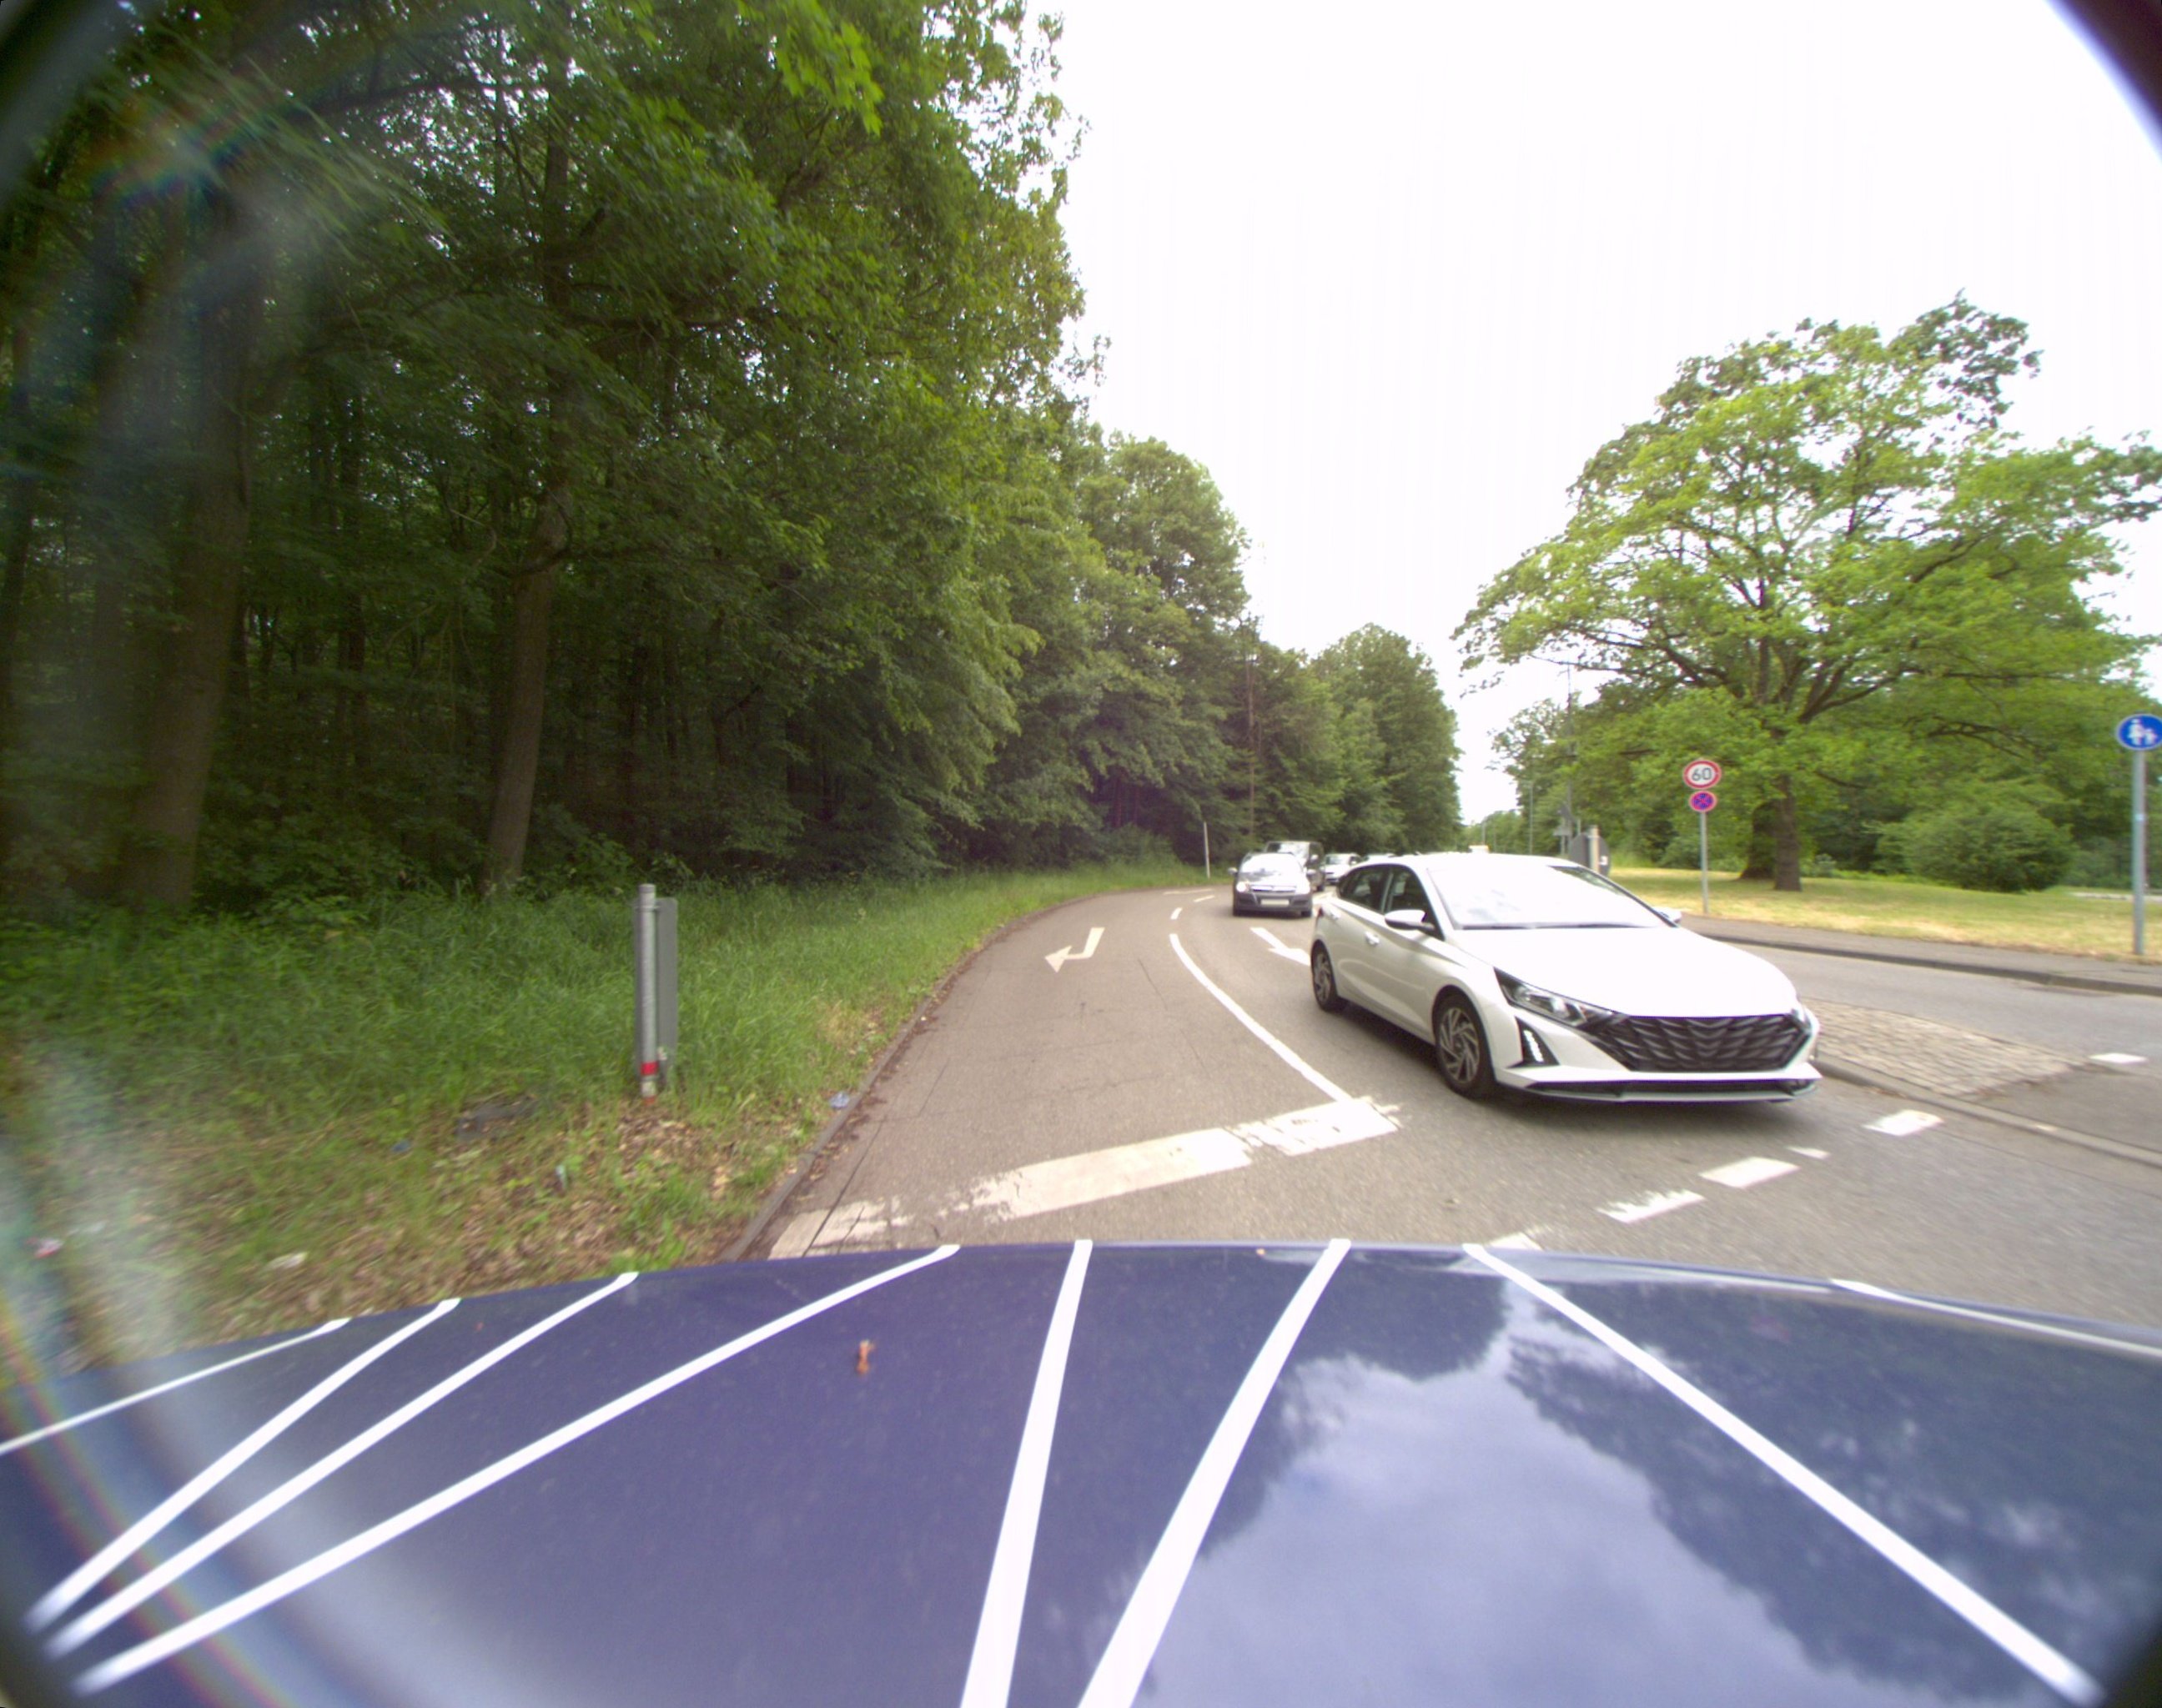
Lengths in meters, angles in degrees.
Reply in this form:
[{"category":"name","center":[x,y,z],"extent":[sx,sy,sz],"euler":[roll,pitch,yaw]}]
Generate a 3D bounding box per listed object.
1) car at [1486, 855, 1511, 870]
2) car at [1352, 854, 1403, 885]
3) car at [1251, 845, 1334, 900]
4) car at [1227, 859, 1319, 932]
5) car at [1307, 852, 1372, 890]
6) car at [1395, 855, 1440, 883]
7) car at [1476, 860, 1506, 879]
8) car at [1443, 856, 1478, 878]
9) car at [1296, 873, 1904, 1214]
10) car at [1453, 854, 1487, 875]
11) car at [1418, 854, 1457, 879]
[{"category":"car","center":[43.111,0.820,78.476],"extent":[1.774,1.491,3.881],"euler":[1,0,35]},{"category":"car","center":[15.591,0.770,39.889],"extent":[1.774,1.491,3.881],"euler":[1,0,32]},{"category":"car","center":[7.916,0.632,28.123],"extent":[1.986,1.862,4.540],"euler":[1,0,28]},{"category":"car","center":[4.722,0.887,18.267],"extent":[1.800,1.470,4.476],"euler":[1,0,18]},{"category":"car","center":[12.221,0.744,35.726],"extent":[1.789,1.664,3.999],"euler":[0,0,36]},{"category":"car","center":[19.284,0.819,43.467],"extent":[1.774,1.491,3.881],"euler":[1,0,32]},{"category":"car","center":[34.936,1.313,64.707],"extent":[1.774,1.491,3.881],"euler":[1,0,35]},{"category":"car","center":[26.674,0.888,53.349],"extent":[1.774,1.491,3.881],"euler":[1,0,32]},{"category":"car","center":[2.996,0.939,5.581],"extent":[1.654,1.470,4.073],"euler":[1,0,0]},{"category":"car","center":[29.881,0.776,58.284],"extent":[1.774,1.491,3.881],"euler":[1,0,35]},{"category":"car","center":[23.020,0.792,48.960],"extent":[1.774,1.491,3.881],"euler":[1,0,32]}]
